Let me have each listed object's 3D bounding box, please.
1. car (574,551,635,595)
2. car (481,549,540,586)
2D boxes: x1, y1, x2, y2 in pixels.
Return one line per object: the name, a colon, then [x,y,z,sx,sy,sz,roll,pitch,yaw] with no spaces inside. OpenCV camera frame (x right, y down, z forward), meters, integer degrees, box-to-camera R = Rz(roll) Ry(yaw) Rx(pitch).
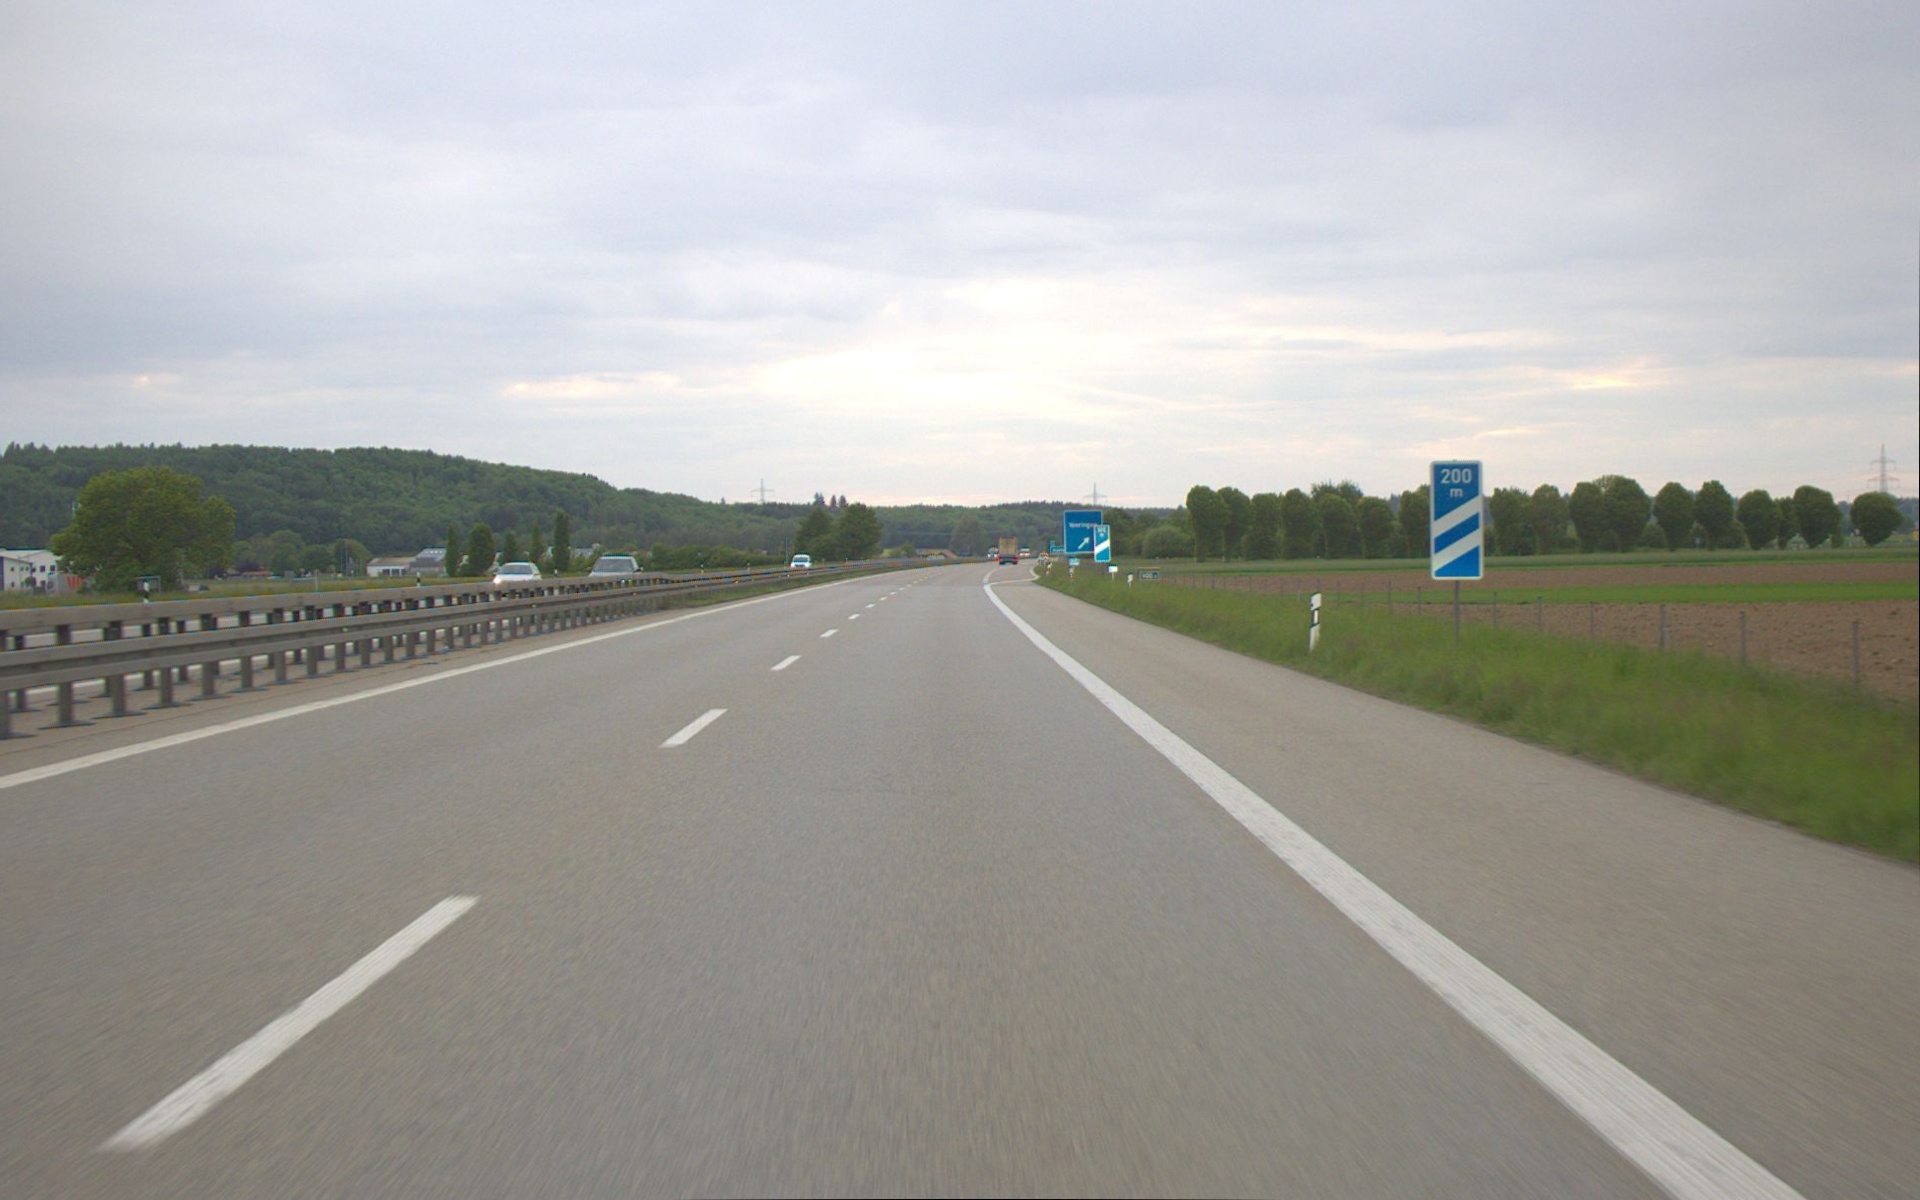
car: [-14.103,-1.083,136.551,1.993,1.695,4.302,1,1,0]
car: [-19.100,-1.395,146.186,1.993,1.491,4.763,-1,1,-1]
